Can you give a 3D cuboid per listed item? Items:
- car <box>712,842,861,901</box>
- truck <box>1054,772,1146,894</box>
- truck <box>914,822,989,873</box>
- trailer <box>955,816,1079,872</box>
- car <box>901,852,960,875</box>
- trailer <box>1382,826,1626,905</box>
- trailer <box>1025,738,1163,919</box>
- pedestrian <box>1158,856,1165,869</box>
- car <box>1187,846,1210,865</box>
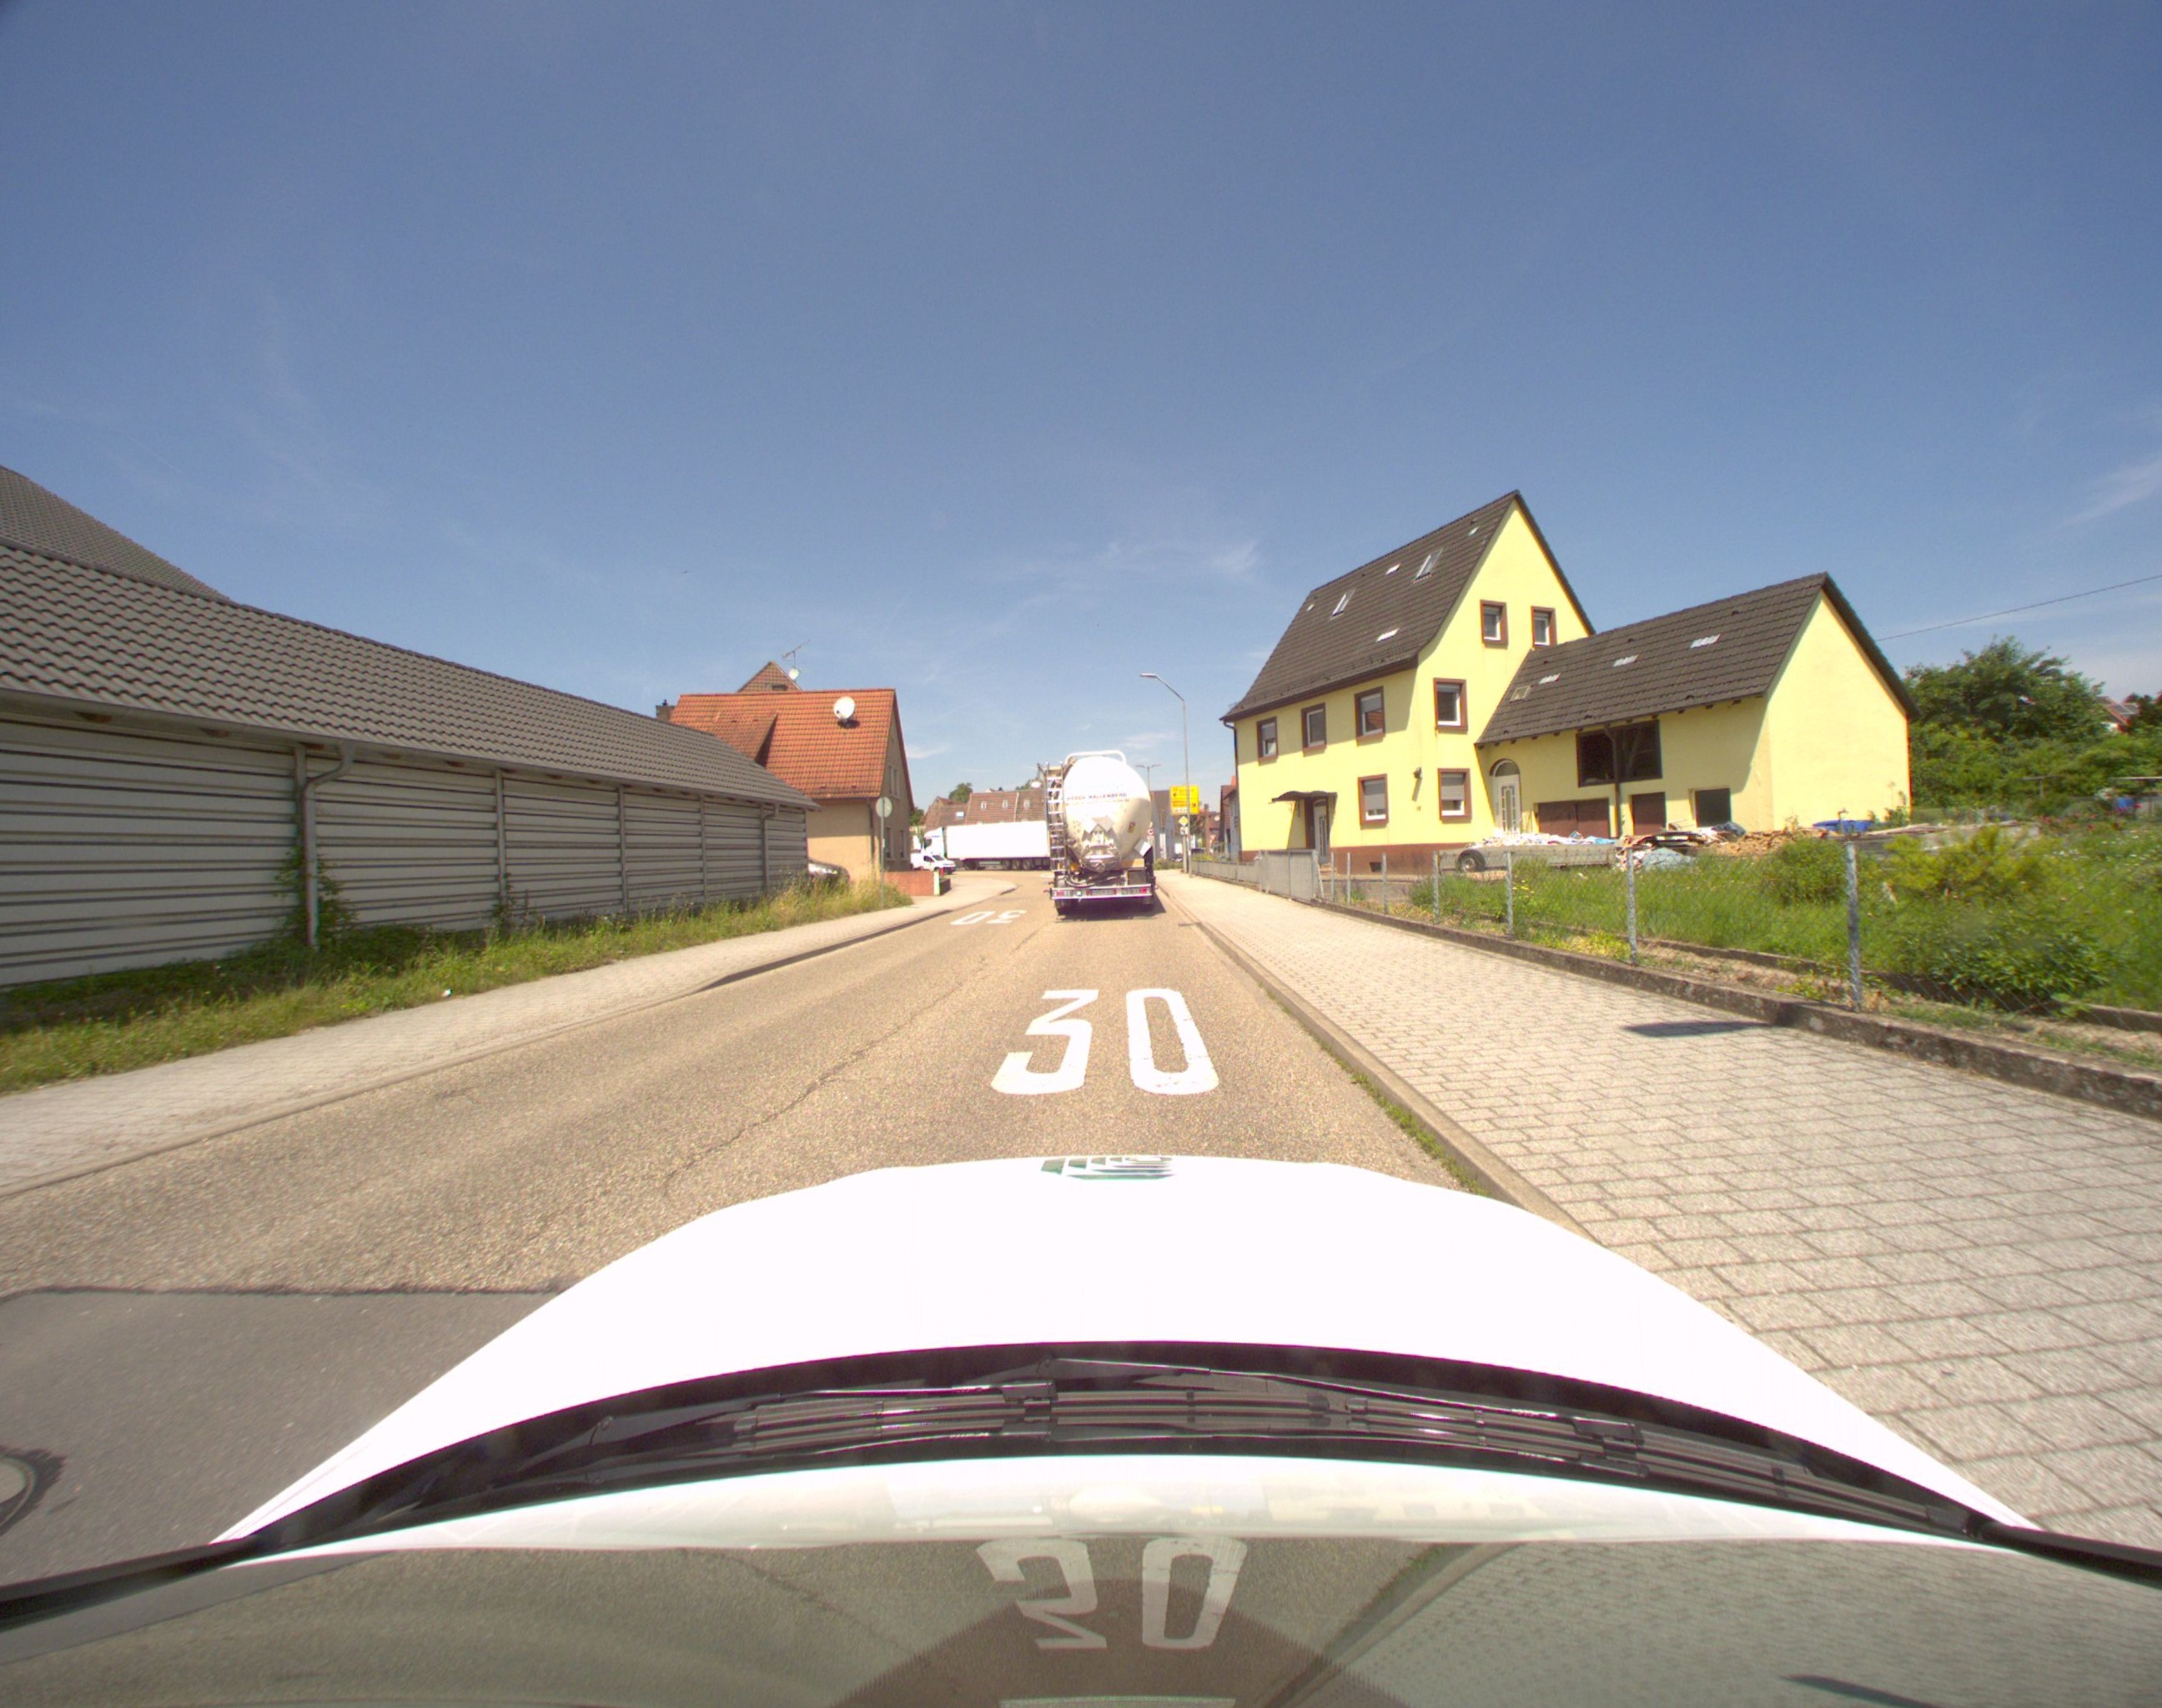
[{"bbox_3d":[-9.561,0.556,26.634,4.106,1.638,1.867,-3,0,4],"label":"car"},{"bbox_3d":[0.773,-0.683,29.919,2.975,3.965,5.583,-2,0,3],"label":"truck"},{"bbox_3d":[-11.744,-0.530,74.022,5.861,4.401,3.132,-2,-1,25],"label":"truck"},{"bbox_3d":[-5.719,-0.721,69.482,12.338,4.277,3.161,-2,-1,44],"label":"trailer"},{"bbox_3d":[-12.488,0.790,67.582,4.466,1.785,1.890,-1,1,24],"label":"car"},{"bbox_3d":[9.588,0.216,18.387,5.375,1.546,2.120,-1,-1,-26],"label":"trailer"},{"bbox_3d":[0.491,-0.536,23.911,2.941,3.948,11.623,-2,0,2],"label":"trailer"},{"bbox_3d":[12.127,1.280,122.913,0.762,2.013,0.982,-1,0,23],"label":"pedestrian"},{"bbox_3d":[12.652,0.234,87.486,1.979,1.912,4.341,-1,-2,15],"label":"car"}]
